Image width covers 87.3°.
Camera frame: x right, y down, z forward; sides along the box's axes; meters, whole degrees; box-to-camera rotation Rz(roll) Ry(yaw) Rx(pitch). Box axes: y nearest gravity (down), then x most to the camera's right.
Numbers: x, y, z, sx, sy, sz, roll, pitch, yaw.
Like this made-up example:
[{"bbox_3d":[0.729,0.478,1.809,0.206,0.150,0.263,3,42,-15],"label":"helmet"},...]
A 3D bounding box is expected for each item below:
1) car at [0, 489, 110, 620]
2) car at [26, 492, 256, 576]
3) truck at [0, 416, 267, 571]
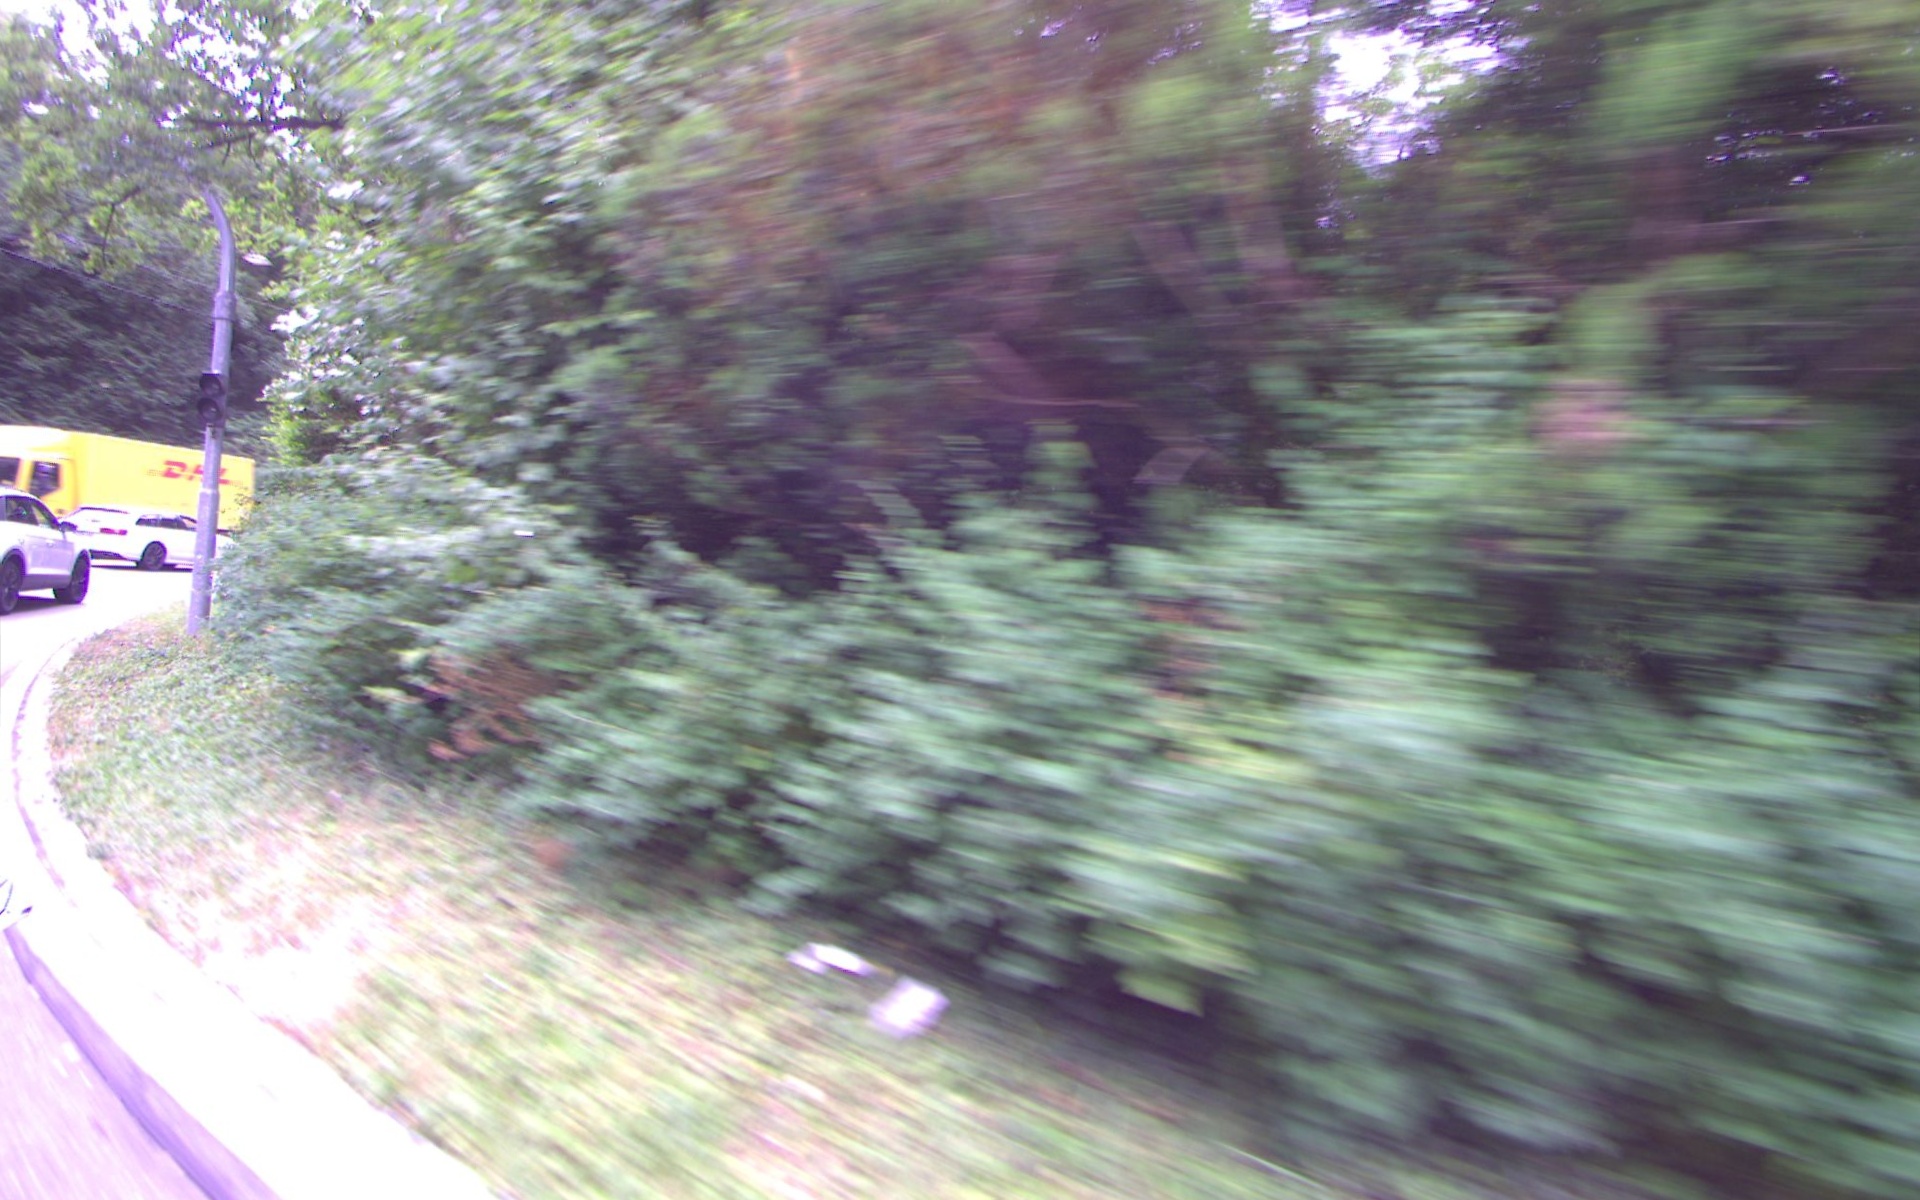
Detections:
[{"bbox_3d":[-13.080,-0.721,13.285,1.740,1.571,4.308,8,-1,-27],"label":"car"},{"bbox_3d":[-19.809,-1.511,24.681,1.837,1.553,4.773,6,0,-4],"label":"car"},{"bbox_3d":[-23.897,-2.809,28.384,2.705,3.341,7.585,5,-1,5],"label":"truck"}]
